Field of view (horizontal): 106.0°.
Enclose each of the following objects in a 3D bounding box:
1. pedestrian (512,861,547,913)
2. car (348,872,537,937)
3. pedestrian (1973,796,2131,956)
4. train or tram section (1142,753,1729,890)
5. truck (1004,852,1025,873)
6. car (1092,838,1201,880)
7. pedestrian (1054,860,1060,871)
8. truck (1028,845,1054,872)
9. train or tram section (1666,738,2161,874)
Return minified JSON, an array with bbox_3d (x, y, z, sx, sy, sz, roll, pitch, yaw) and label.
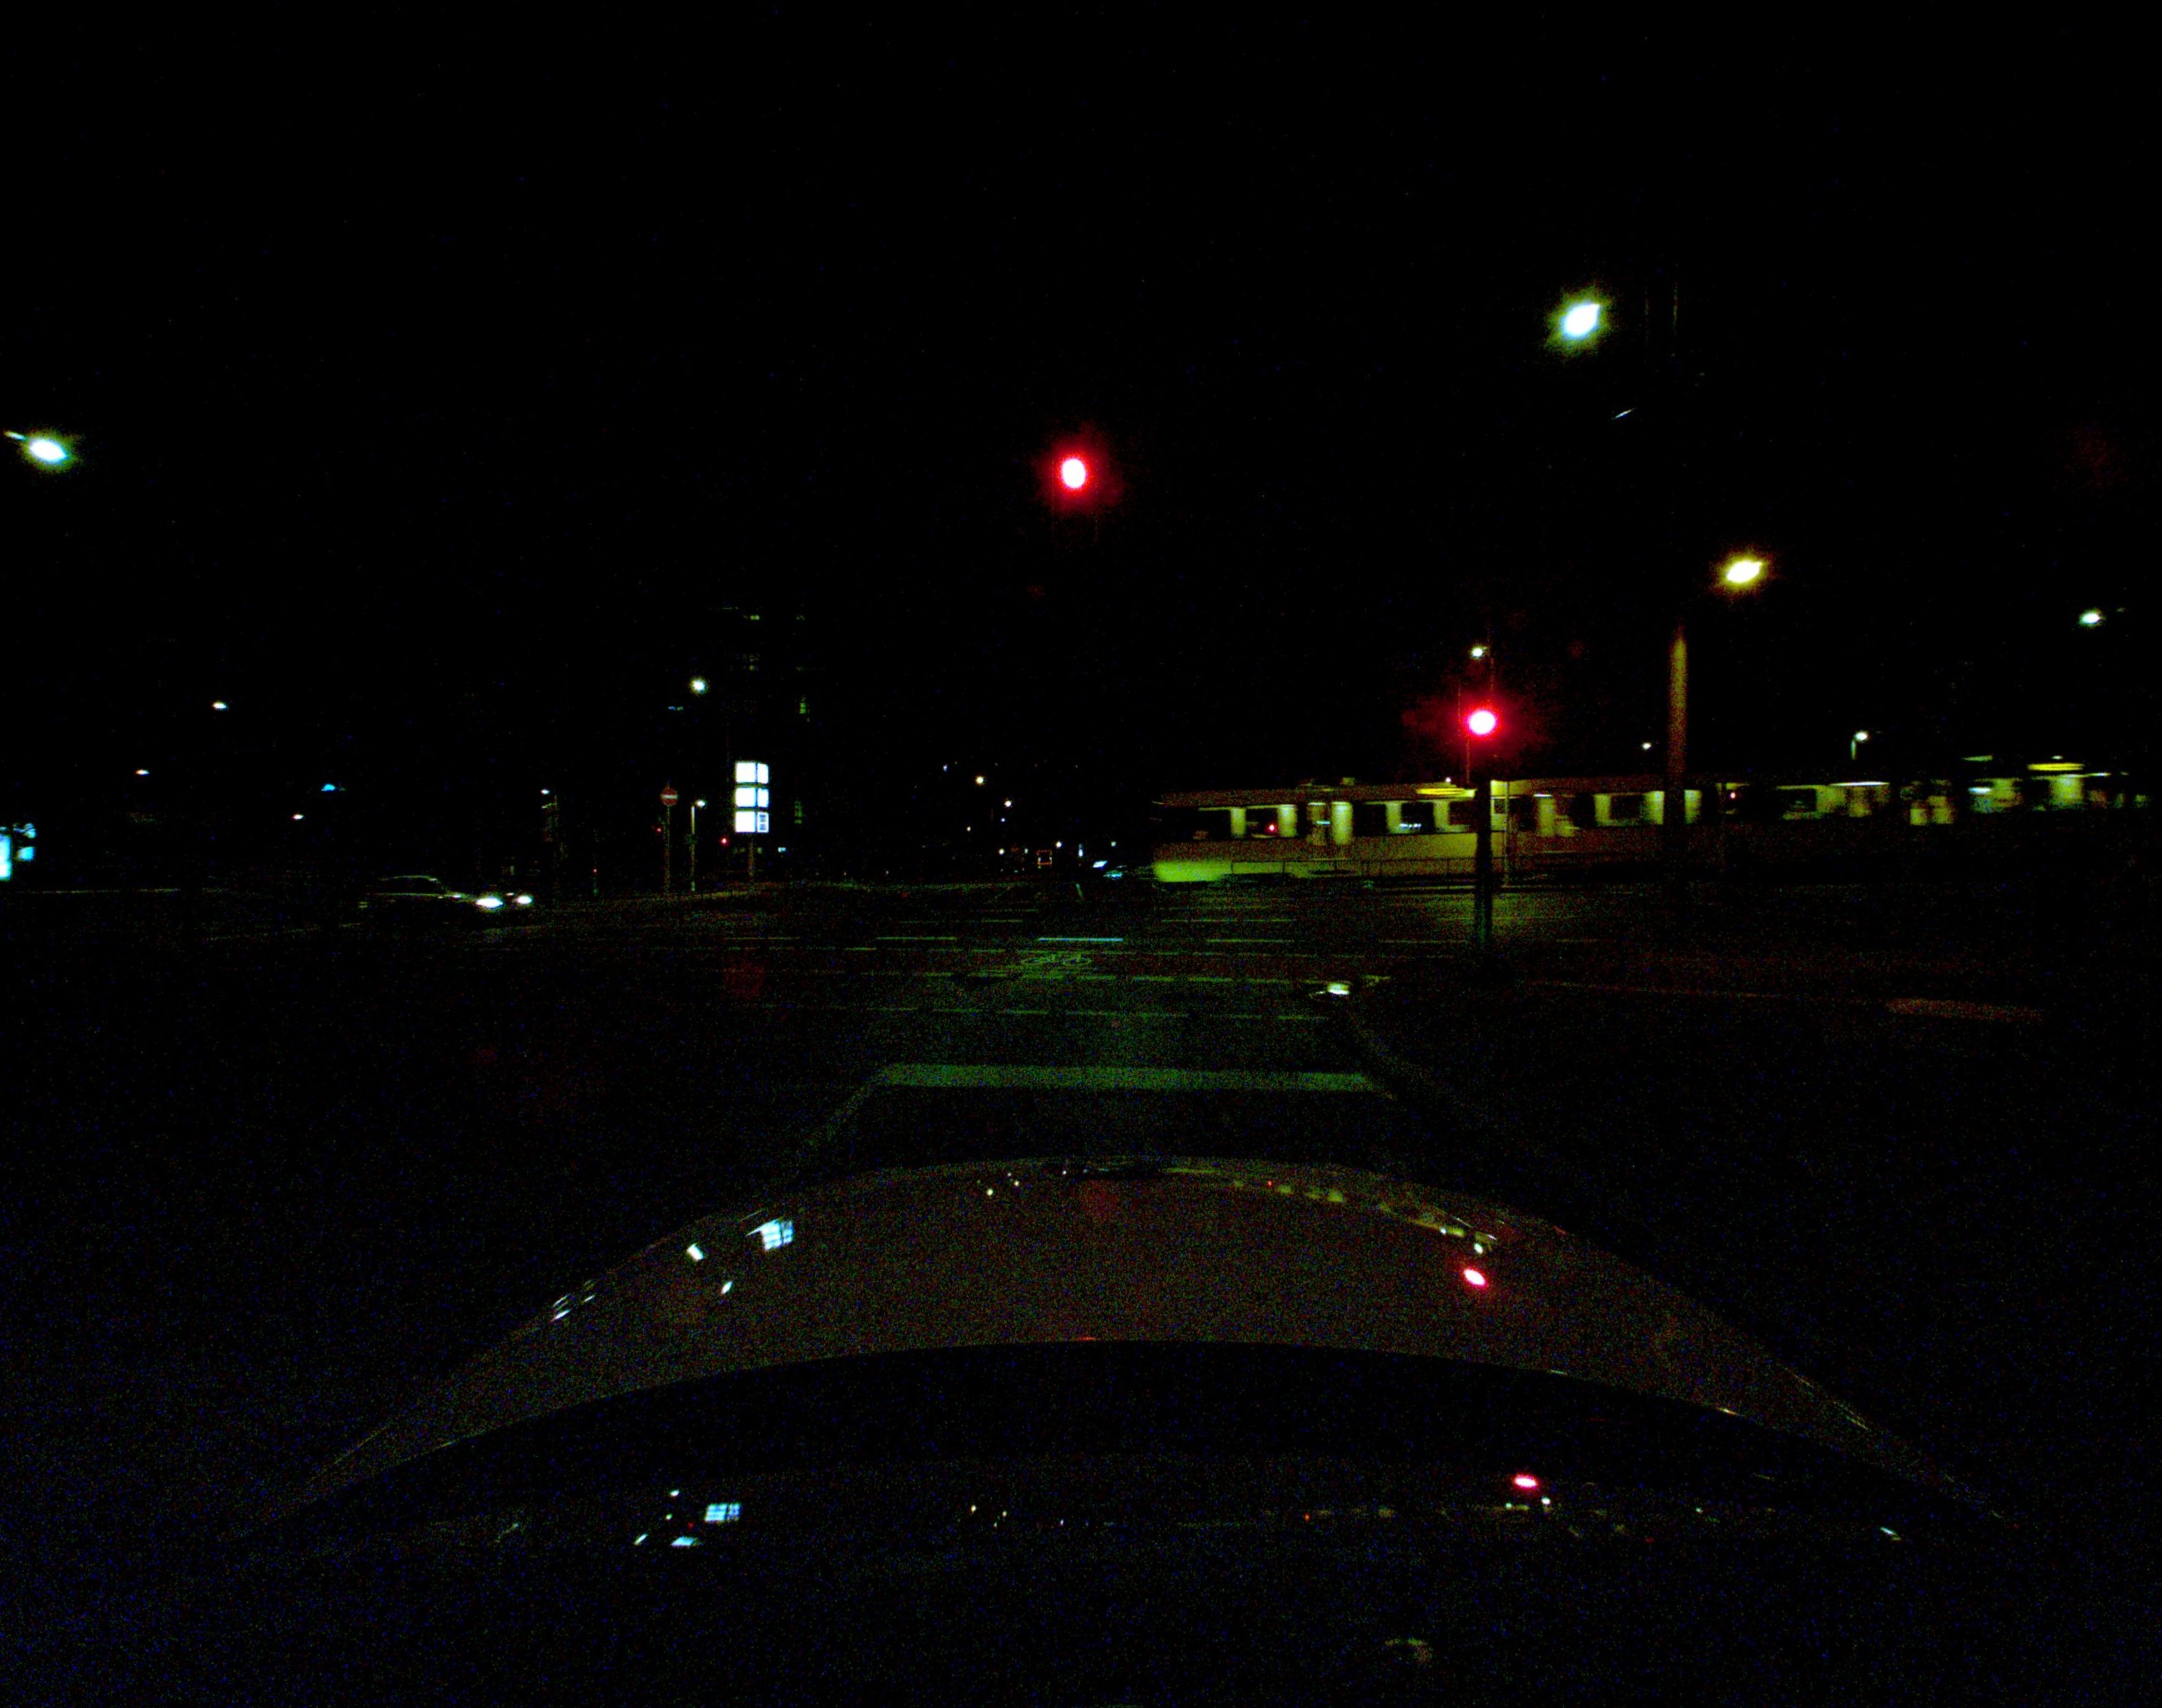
[{"bbox_3d":[-18.628,1.092,27.517,0.700,1.722,0.681,0,-1,10],"label":"pedestrian"},{"bbox_3d":[-16.519,1.290,21.157,3.669,1.420,1.645,-3,0,5],"label":"car"},{"bbox_3d":[10.714,0.256,9.038,0.870,1.656,0.843,-7,-5,42],"label":"pedestrian"},{"bbox_3d":[11.369,-1.028,27.899,18.327,3.849,2.970,-2,1,5],"label":"train or tram section"},{"bbox_3d":[-9.975,1.306,120.998,2.419,3.089,6.412,0,-1,-11],"label":"truck"},{"bbox_3d":[3.087,0.233,37.979,4.917,1.884,1.873,0,-1,7],"label":"car"},{"bbox_3d":[-4.340,2.087,148.631,0.851,1.912,1.001,0,-1,-15],"label":"pedestrian"},{"bbox_3d":[-7.457,0.930,150.195,3.366,4.842,7.866,0,-1,-14],"label":"truck"},{"bbox_3d":[29.790,-1.497,26.244,18.760,3.850,2.970,-1,-1,5],"label":"train or tram section"}]
